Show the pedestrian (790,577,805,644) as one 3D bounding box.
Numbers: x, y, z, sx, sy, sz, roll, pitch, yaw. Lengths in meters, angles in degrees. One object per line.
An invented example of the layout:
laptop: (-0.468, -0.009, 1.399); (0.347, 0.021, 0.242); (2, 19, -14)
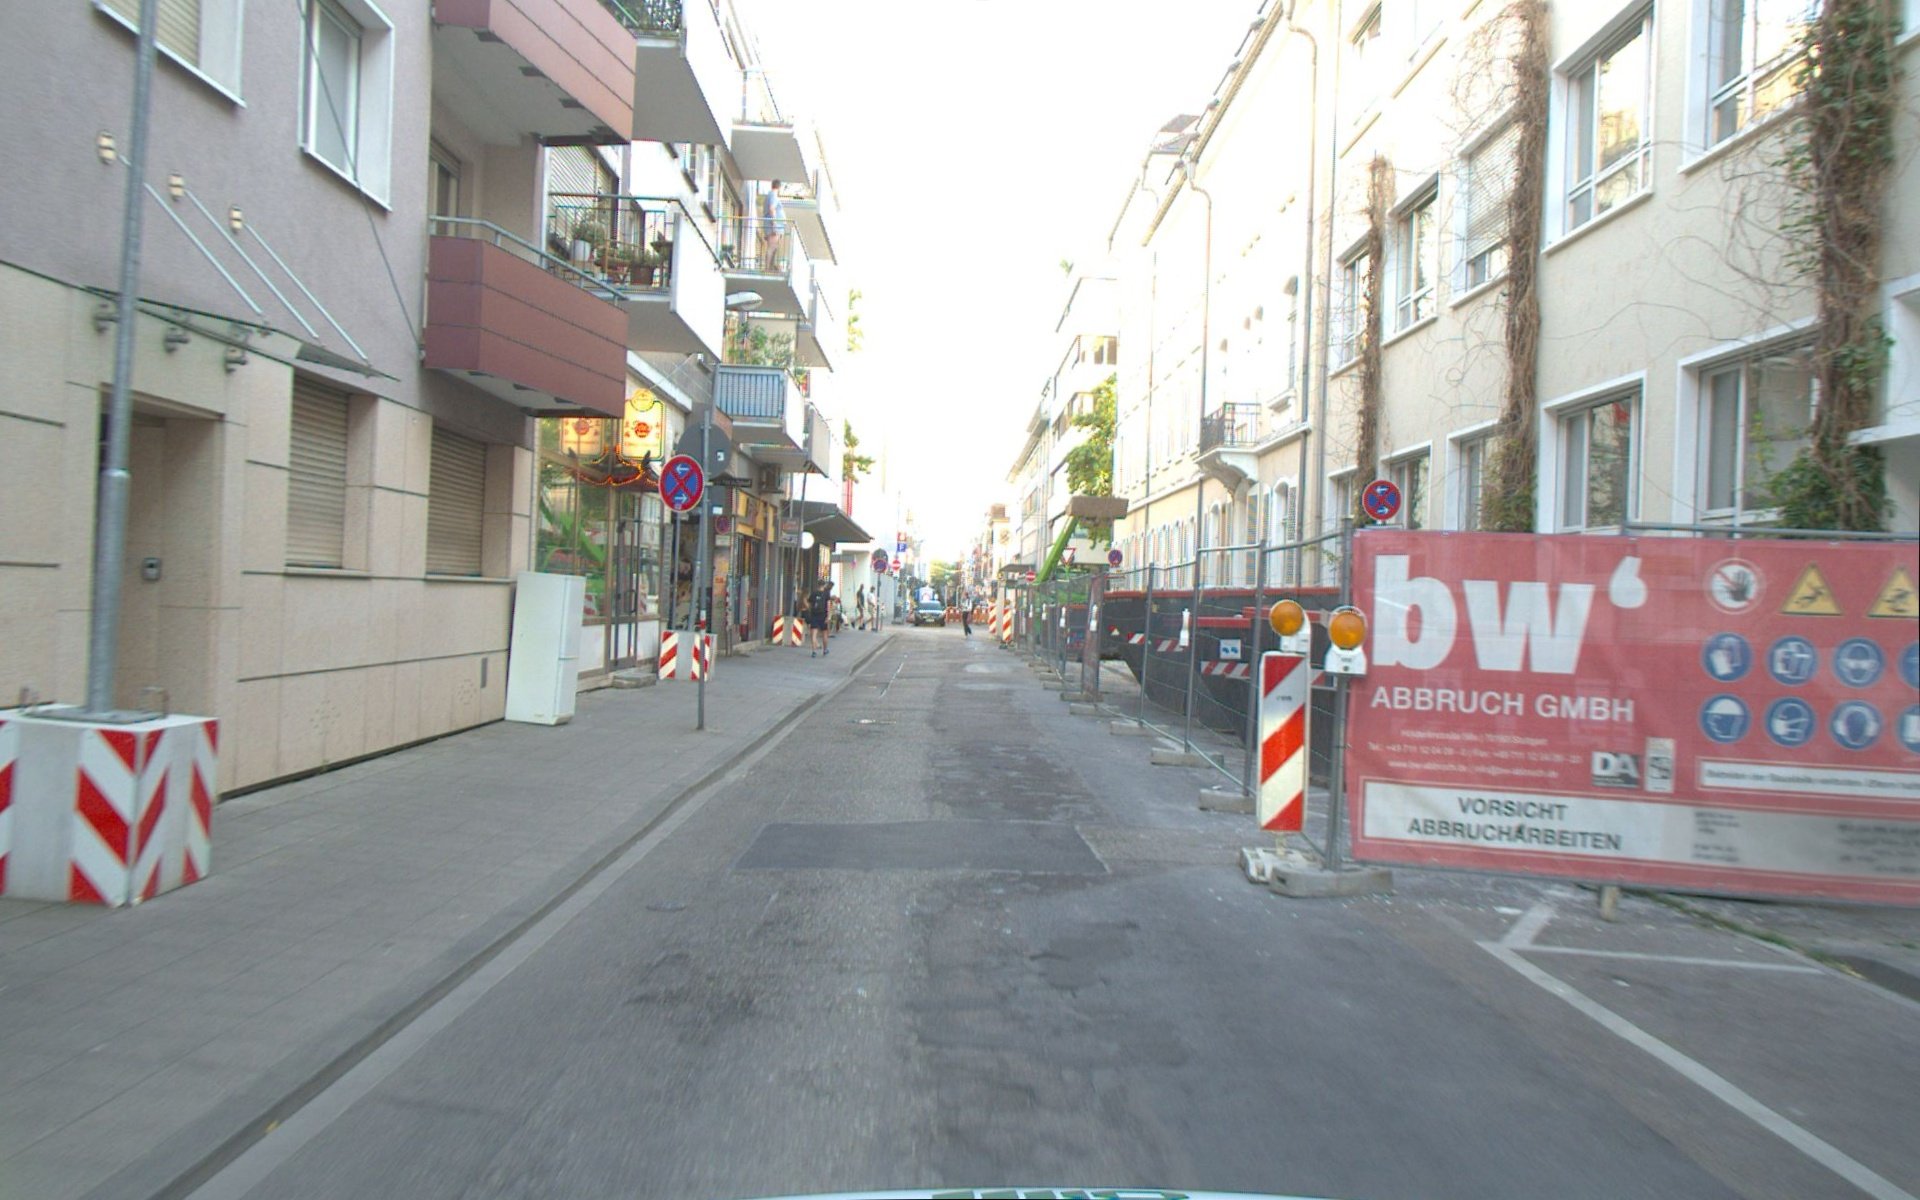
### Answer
pedestrian: (-4.971, 0.324, 50.582); (0.402, 2.049, 0.453); (2, 0, -3)

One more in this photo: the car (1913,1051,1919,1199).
car: (3.201, 0.914, 1.733); (1.659, 1.430, 4.477); (3, 1, -2)

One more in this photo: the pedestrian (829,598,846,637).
pedestrian: (-4.493, 0.650, 60.709); (0.547, 1.415, 0.892); (2, 0, -1)

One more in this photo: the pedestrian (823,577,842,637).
pedestrian: (-4.146, 0.226, 53.698); (0.561, 1.919, 0.655); (1, 0, -5)

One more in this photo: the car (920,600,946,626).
car: (-1.521, 0.719, 94.487); (1.444, 1.422, 3.331); (2, 0, -1)

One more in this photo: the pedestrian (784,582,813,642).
pedestrian: (-4.338, 0.323, 44.307); (0.635, 1.592, 0.628); (1, 0, -16)

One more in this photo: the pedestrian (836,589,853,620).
pedestrian: (-4.529, 0.173, 65.067); (0.605, 1.192, 0.787); (1, 0, -2)

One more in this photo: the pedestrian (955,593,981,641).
pedestrian: (0.297, 0.622, 61.919); (0.638, 1.770, 0.715); (1, 0, -29)

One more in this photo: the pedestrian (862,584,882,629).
pedestrian: (-3.638, 0.261, 68.439); (0.635, 1.841, 0.628); (1, 0, -17)

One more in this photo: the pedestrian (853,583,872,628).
pedestrian: (-4.083, 0.229, 69.326); (0.635, 1.841, 0.628); (1, 0, -17)

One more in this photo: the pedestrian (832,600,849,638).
pedestrian: (-4.455, 0.710, 61.770); (0.531, 1.412, 0.625); (1, 0, 0)

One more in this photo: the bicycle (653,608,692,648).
bicycle: (-5.974, 0.567, 34.439); (0.511, 0.774, 1.747); (2, 0, -1)

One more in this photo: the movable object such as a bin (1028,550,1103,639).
movable object such as a bin: (3.974, -0.261, 63.111); (2.420, 3.185, 4.297); (3, 1, -1)

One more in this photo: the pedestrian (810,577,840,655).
pedestrian: (-3.254, 0.381, 39.960); (0.616, 1.839, 0.647); (1, 0, 1)
